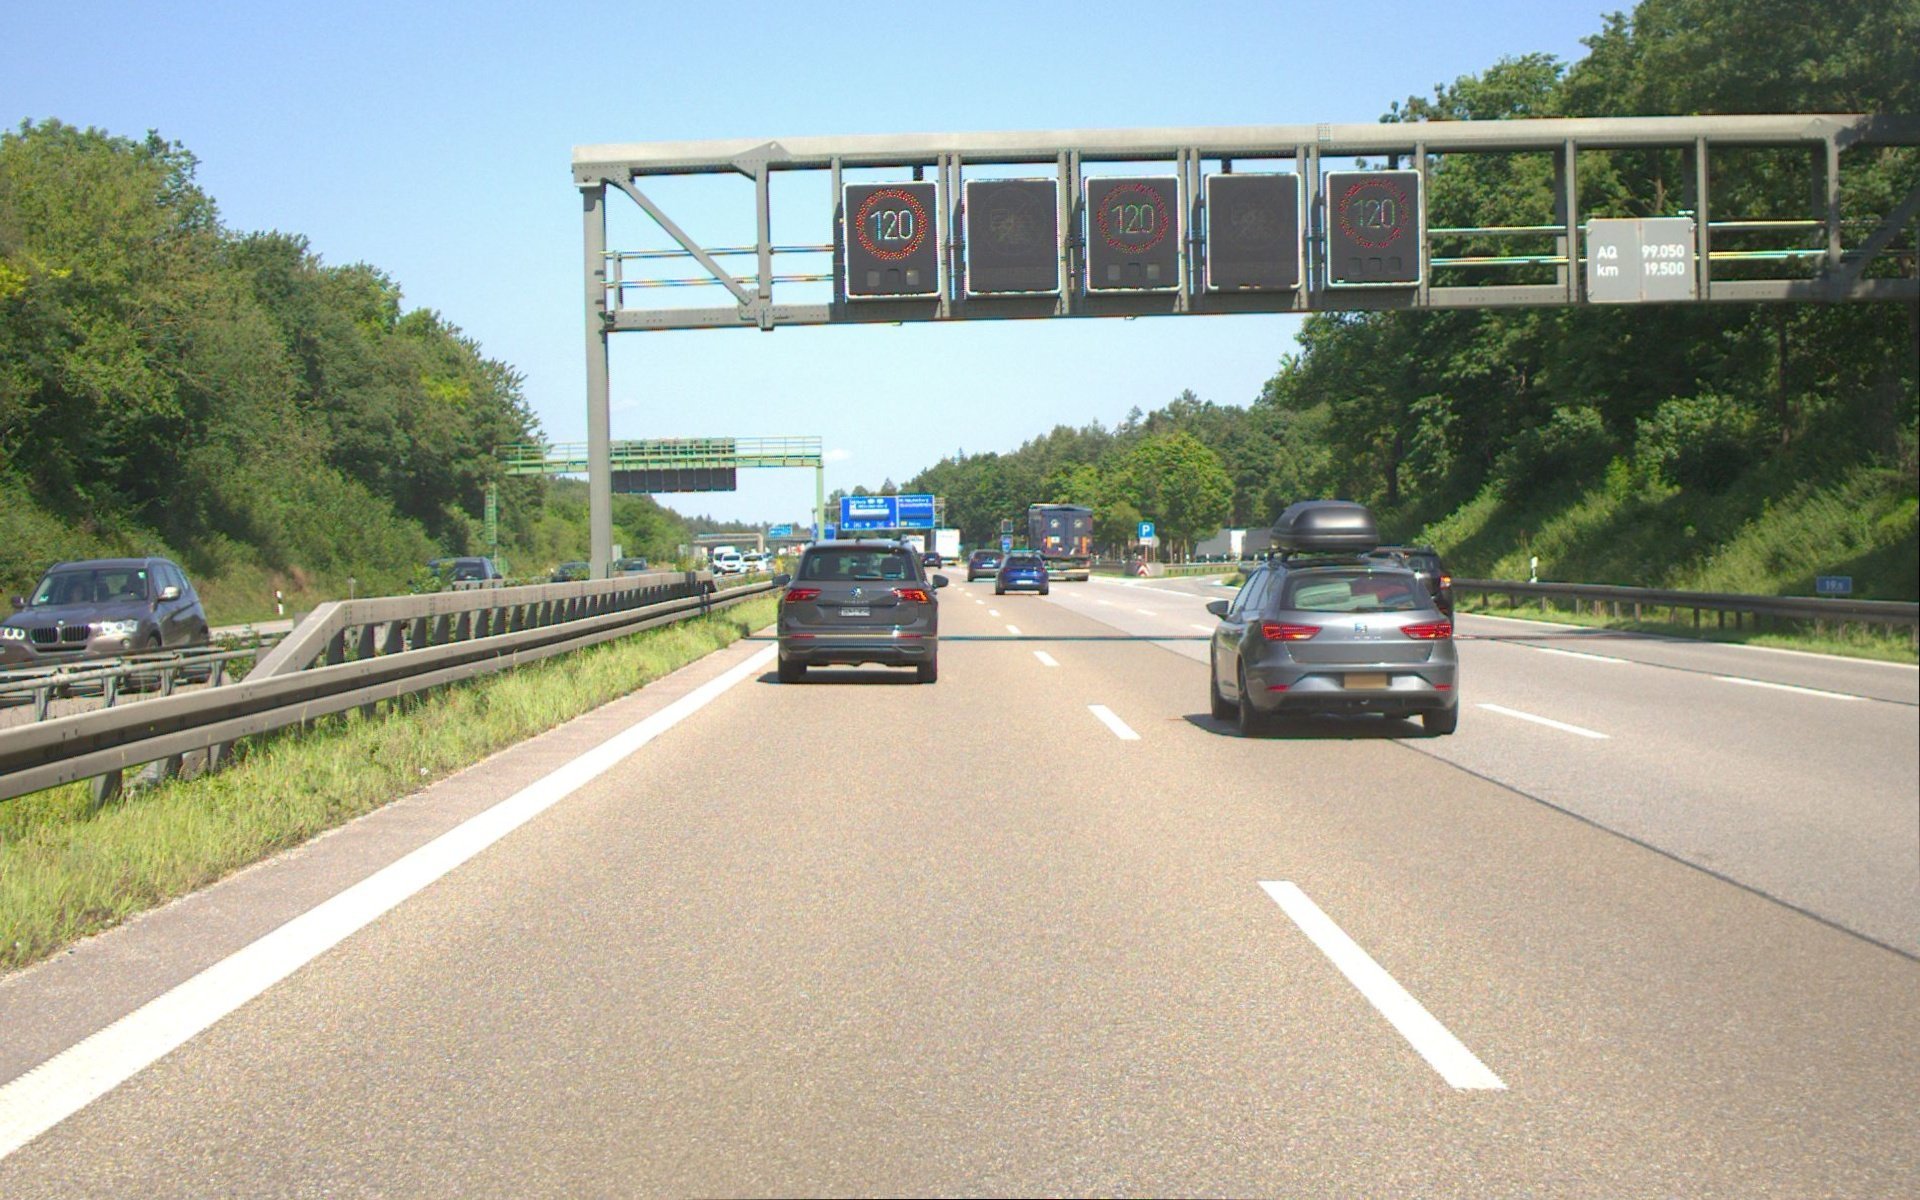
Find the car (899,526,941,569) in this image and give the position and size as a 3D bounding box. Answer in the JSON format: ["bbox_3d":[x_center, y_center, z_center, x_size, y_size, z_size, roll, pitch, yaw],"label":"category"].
[{"bbox_3d":[-1.927,-2.515,164.997,1.993,2.007,4.000,0,1,-1],"label":"car"}]

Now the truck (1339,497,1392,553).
[{"bbox_3d":[29.796,-5.516,252.221,3.286,3.933,9.347,-1,1,10],"label":"truck"}]

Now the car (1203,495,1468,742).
[{"bbox_3d":[3.081,0.092,29.056,1.665,1.870,4.827,-2,1,0],"label":"car"}]

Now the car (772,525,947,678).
[{"bbox_3d":[-1.119,-0.024,39.942,1.799,1.663,4.258,1,1,1],"label":"car"}]

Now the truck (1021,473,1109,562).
[{"bbox_3d":[5.364,-4.230,178.776,3.780,4.407,14.052,0,1,-1],"label":"truck"}]

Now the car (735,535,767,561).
[{"bbox_3d":[-13.984,-3.483,230.096,1.812,1.611,3.914,-3,1,0],"label":"car"}]

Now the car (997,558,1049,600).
[{"bbox_3d":[2.180,-0.744,119.024,1.765,1.377,4.258,1,1,1],"label":"car"}]

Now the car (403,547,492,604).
[{"bbox_3d":[-11.500,-0.560,77.248,1.479,1.206,3.458,-2,1,0],"label":"car"}]

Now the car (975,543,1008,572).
[{"bbox_3d":[1.577,-2.137,173.079,1.471,1.393,3.410,2,1,-1],"label":"car"}]

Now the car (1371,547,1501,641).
[{"bbox_3d":[8.349,-0.128,60.567,1.765,1.563,4.258,1,1,1],"label":"car"}]

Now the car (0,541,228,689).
[{"bbox_3d":[-10.522,0.139,42.687,1.807,1.636,4.801,-3,1,-1],"label":"car"}]
